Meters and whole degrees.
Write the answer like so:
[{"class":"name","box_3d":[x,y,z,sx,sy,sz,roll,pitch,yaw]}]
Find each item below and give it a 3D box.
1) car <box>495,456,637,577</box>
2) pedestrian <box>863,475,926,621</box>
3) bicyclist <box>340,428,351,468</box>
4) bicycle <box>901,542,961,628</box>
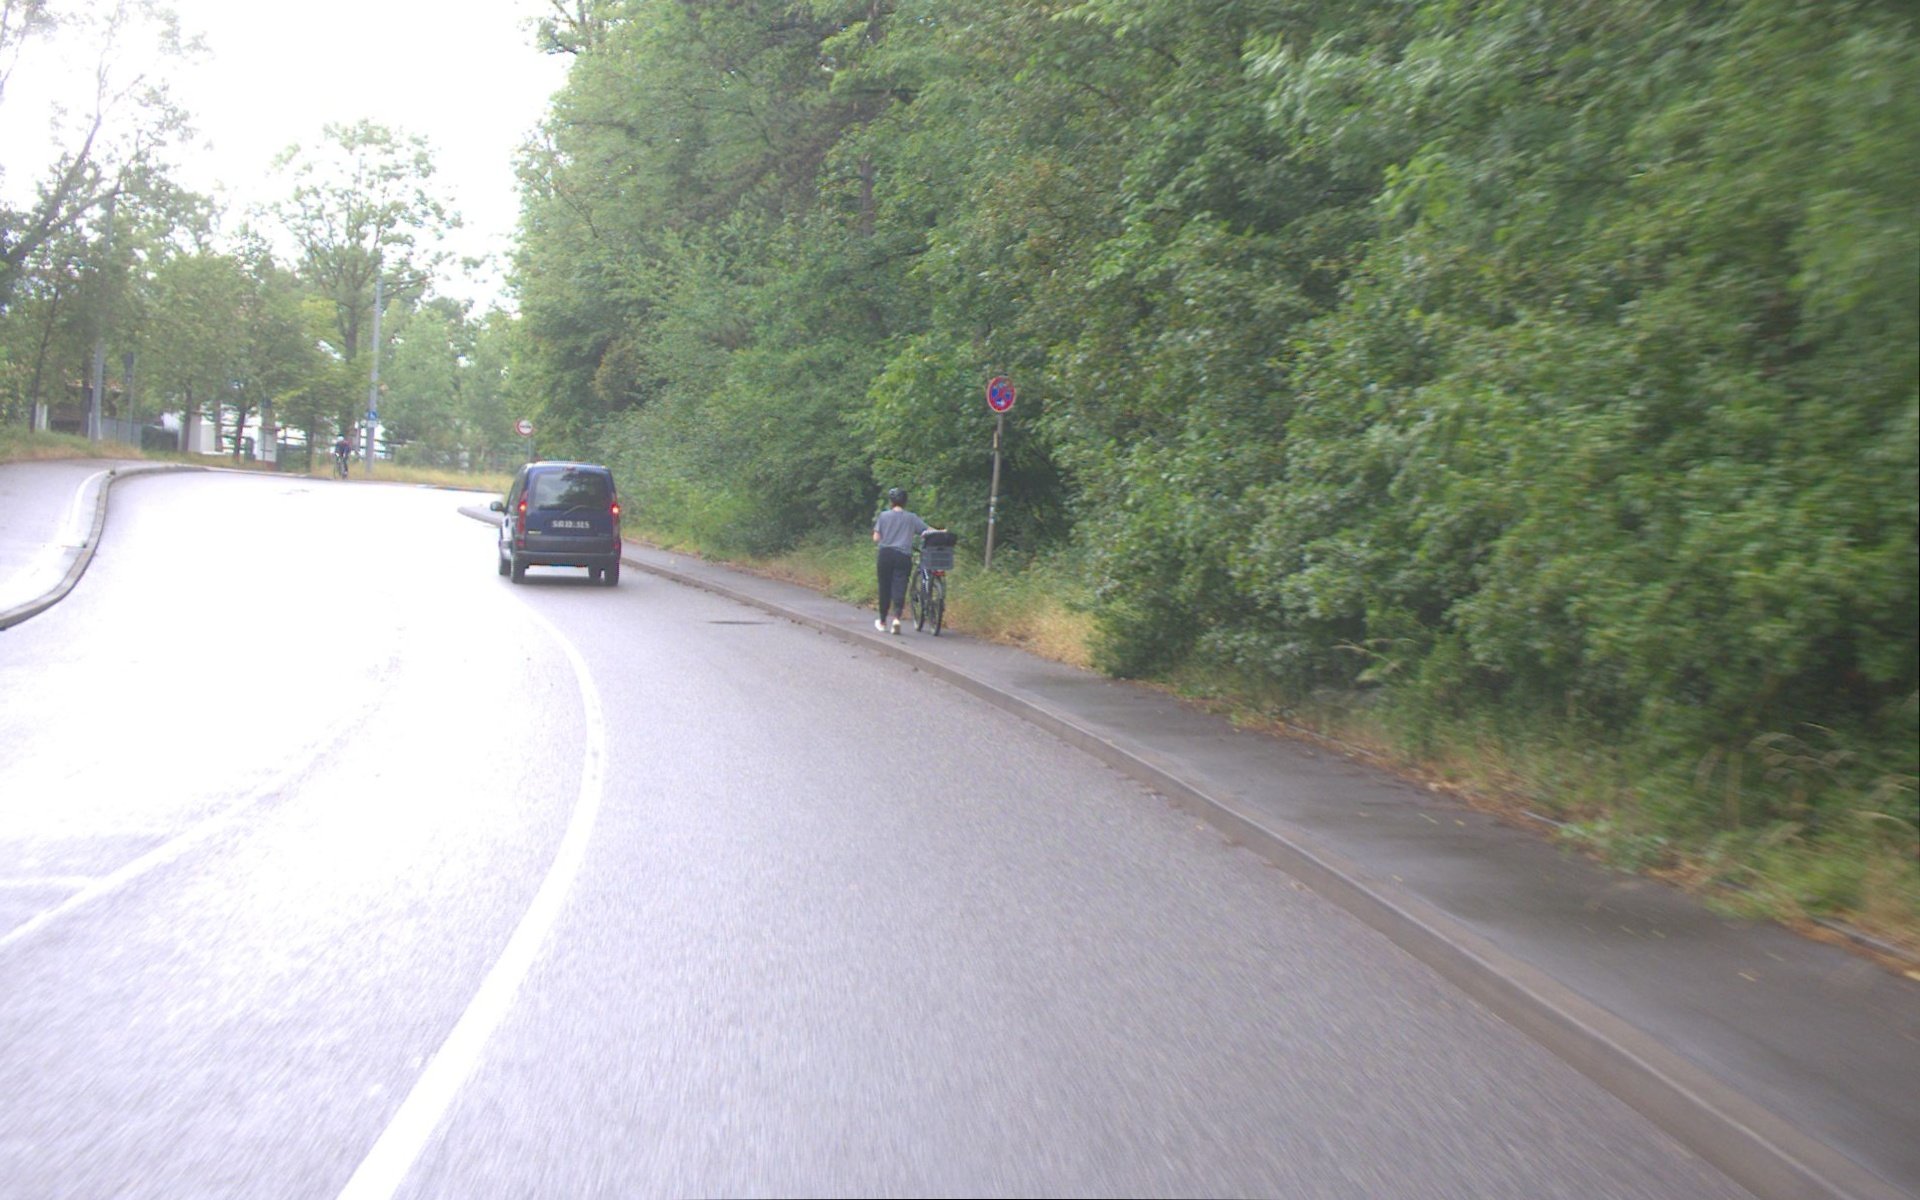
[{"class":"car","box_3d":[-6.124,-1.294,53.100,1.826,1.787,4.001,0,1,-11]},{"class":"pedestrian","box_3d":[-0.718,-0.556,37.480,0.564,1.571,0.770,1,-1,-10]},{"class":"bicyclist","box_3d":[-24.725,-6.105,138.291,0.336,1.568,1.299,3,3,-10]},{"class":"bicycle","box_3d":[-0.324,-0.177,37.555,0.355,0.846,1.743,-1,3,-10]}]
